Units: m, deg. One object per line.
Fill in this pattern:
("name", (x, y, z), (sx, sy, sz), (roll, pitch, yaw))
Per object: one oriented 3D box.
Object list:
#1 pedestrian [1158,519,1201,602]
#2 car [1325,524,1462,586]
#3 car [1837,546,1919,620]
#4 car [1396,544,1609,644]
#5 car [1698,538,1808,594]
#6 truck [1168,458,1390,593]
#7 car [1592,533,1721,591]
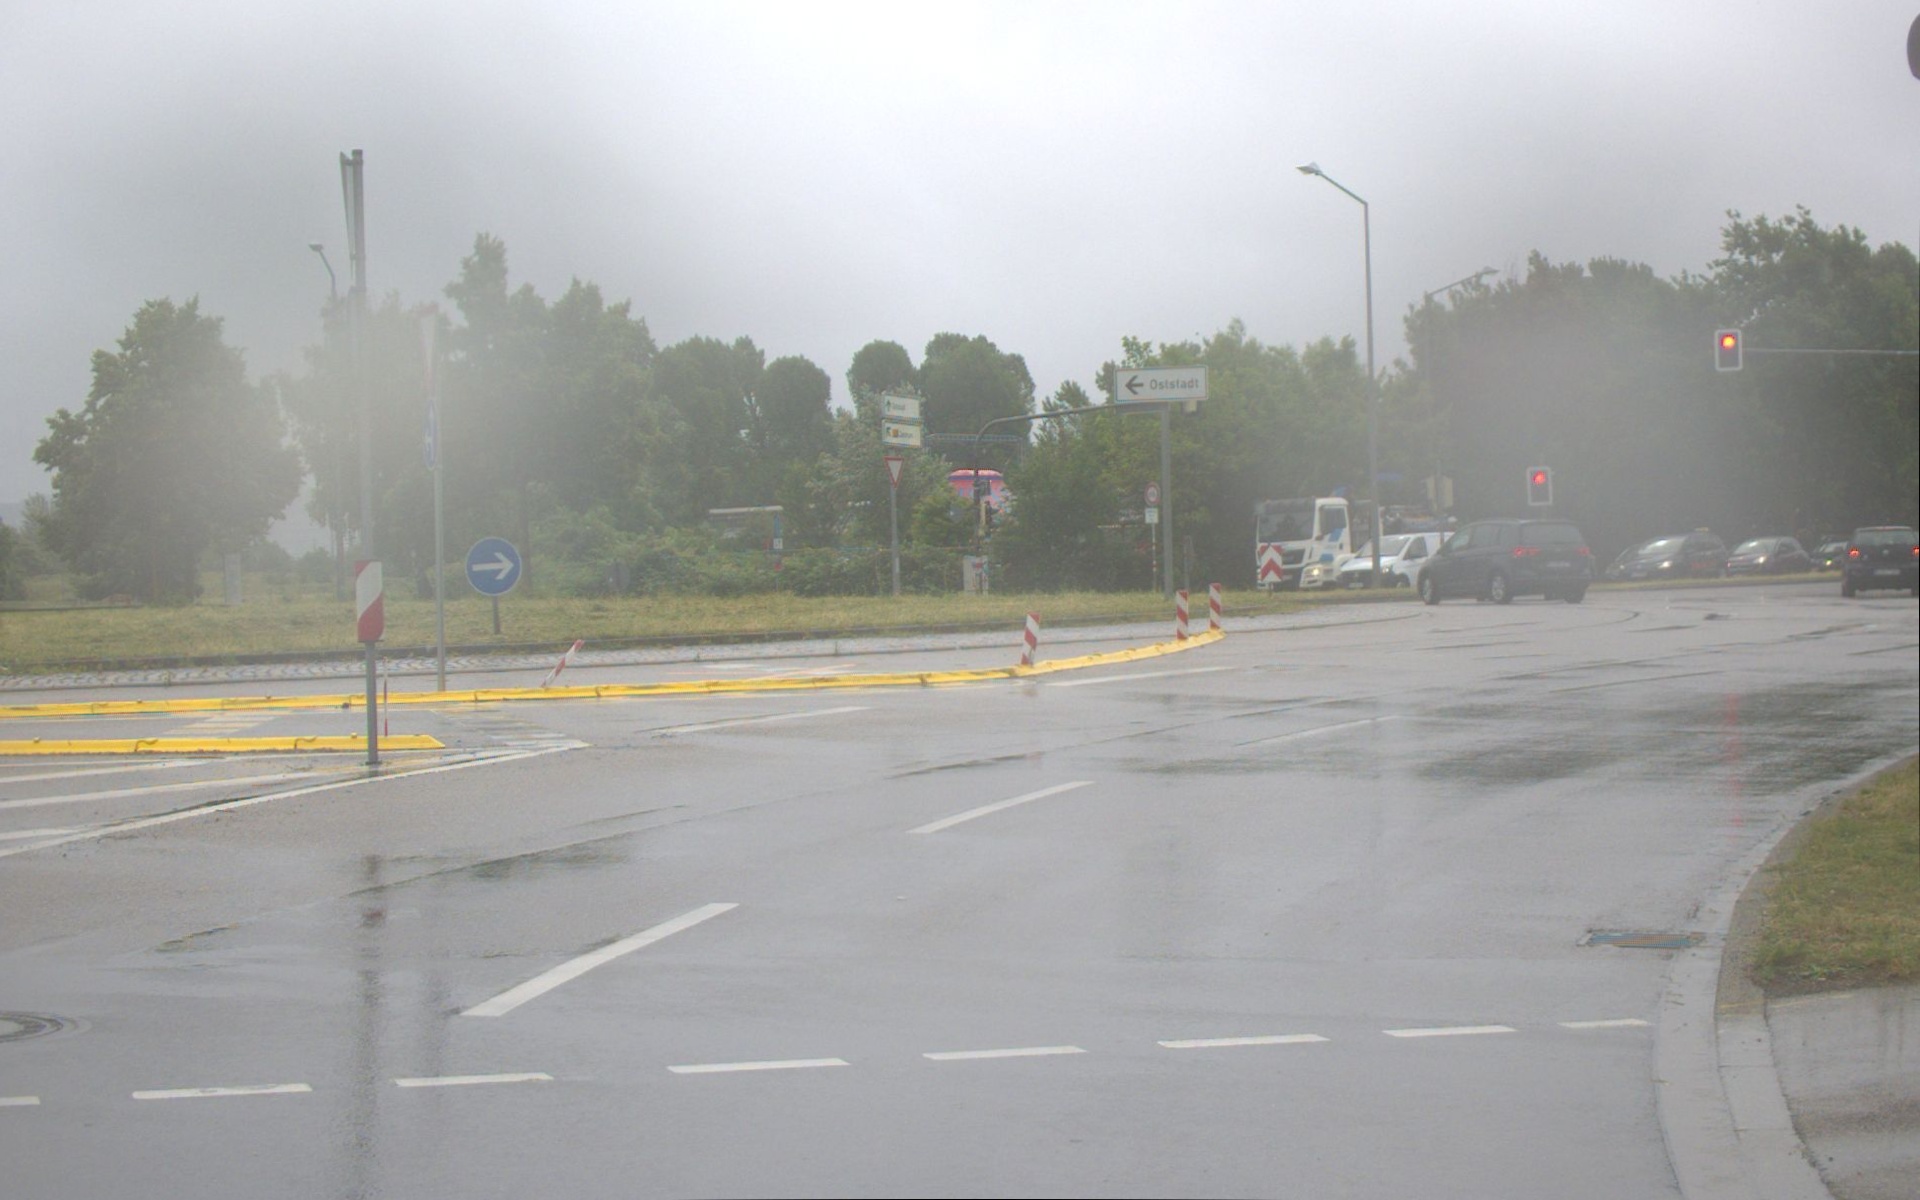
("pedestrian", (3.467, -0.630, 54.269), (0.453, 1.300, 0.485), (-1, 1, 38))
("car", (12.135, -1.253, 96.087), (1.800, 1.656, 4.124), (1, 0, 41))
("car", (19.081, -0.374, 71.138), (1.619, 1.449, 3.986), (-1, 1, 12))
("car", (10.489, -0.123, 66.839), (1.993, 1.845, 4.777), (1, 0, -20))
("car", (24.802, -1.061, 107.483), (1.800, 1.656, 3.991), (1, 0, 38))
("truck", (6.978, -1.542, 74.113), (2.464, 2.677, 8.049), (1, 0, 23))
("car", (20.727, -1.122, 102.220), (1.800, 1.656, 4.399), (1, 0, 41))
